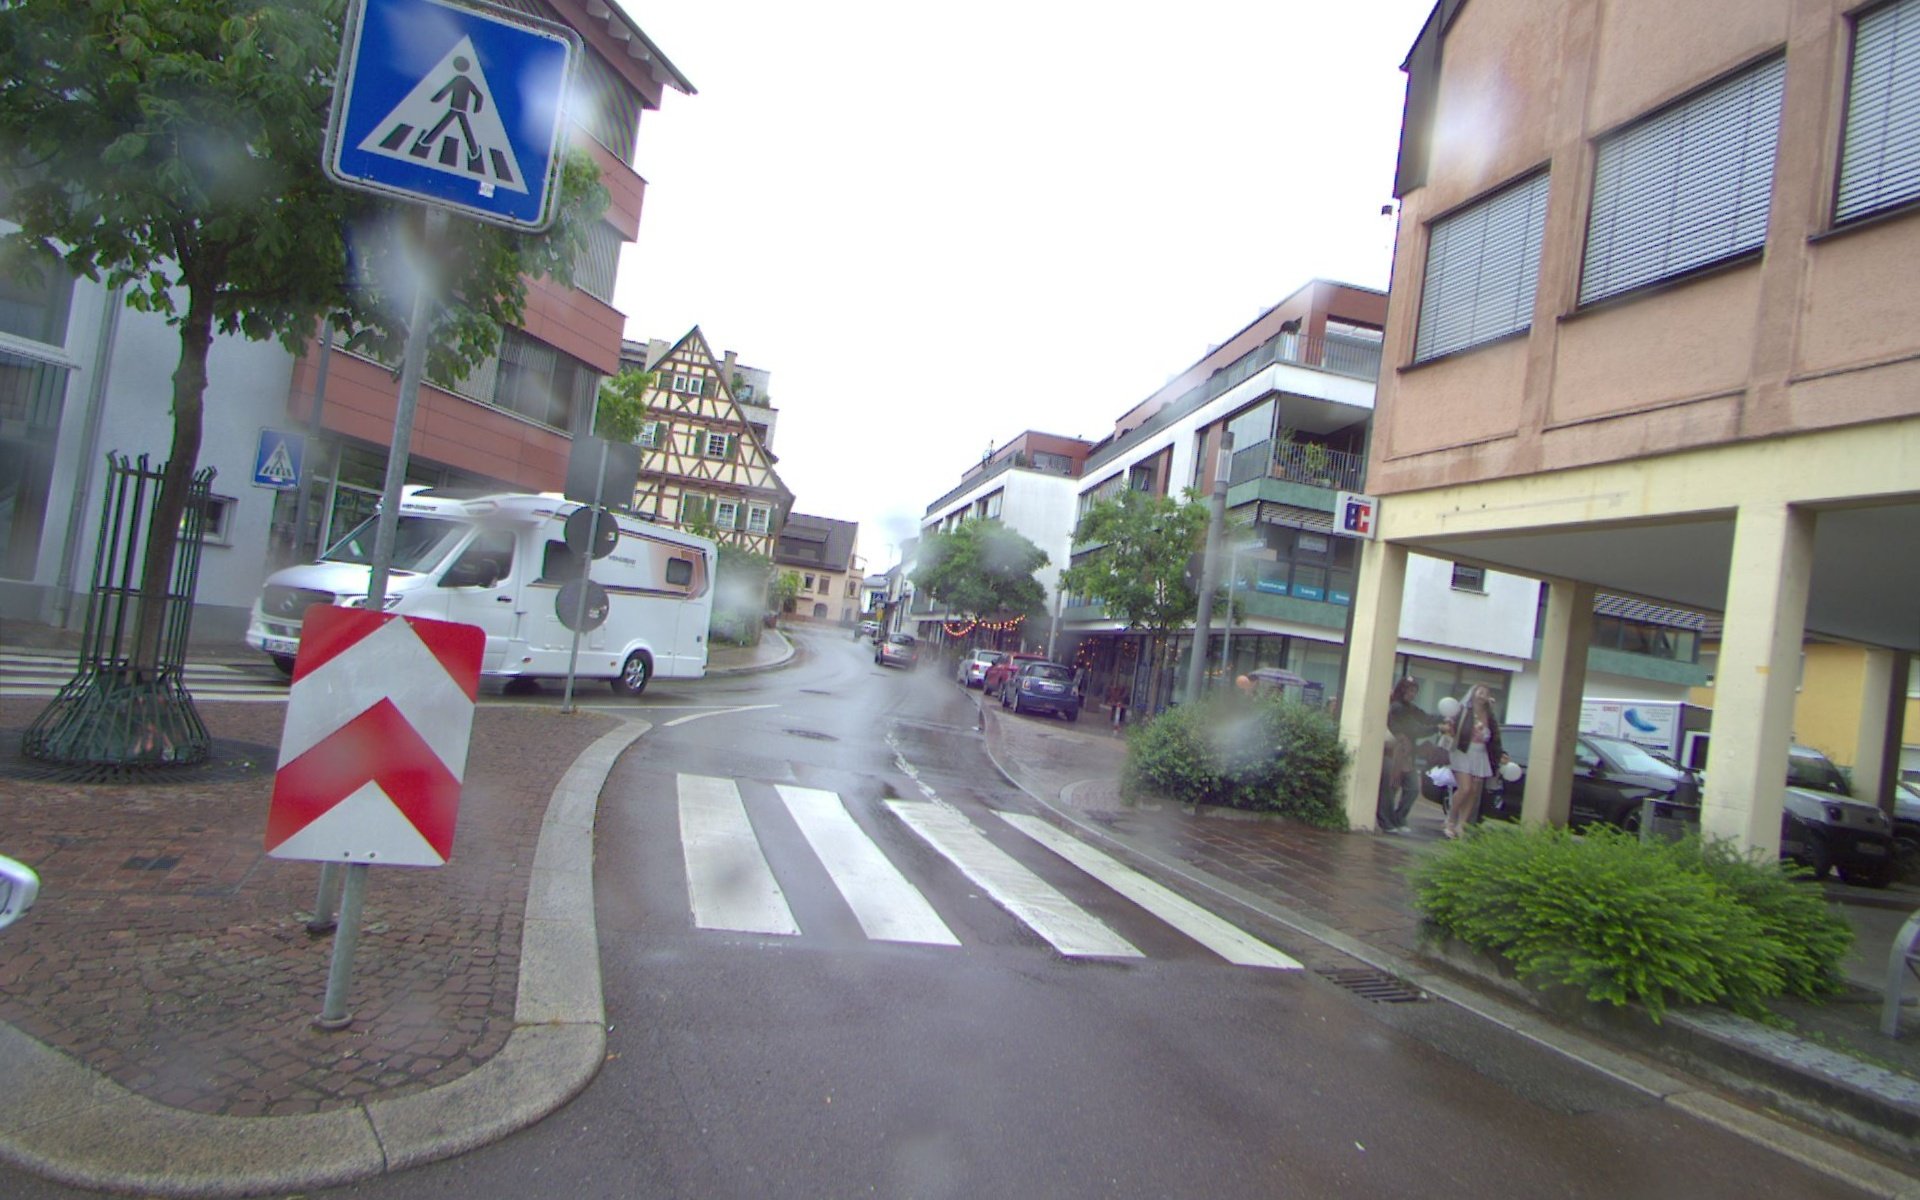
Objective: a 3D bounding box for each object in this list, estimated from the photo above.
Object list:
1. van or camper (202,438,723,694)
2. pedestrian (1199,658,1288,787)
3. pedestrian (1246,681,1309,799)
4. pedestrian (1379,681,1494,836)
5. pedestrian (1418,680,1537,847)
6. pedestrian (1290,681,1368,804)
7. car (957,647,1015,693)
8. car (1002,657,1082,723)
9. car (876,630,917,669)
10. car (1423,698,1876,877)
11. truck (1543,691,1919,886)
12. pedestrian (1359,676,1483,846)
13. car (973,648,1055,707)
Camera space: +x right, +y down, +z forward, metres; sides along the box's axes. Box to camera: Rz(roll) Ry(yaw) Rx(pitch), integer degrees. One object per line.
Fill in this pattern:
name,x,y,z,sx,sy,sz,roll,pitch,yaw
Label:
van or camper,-6.319,-0.126,14.290,2.400,2.613,6.761,5,-4,18
pedestrian,4.266,1.826,15.186,0.725,1.768,0.890,8,-2,-16
pedestrian,4.842,2.128,15.344,0.533,1.682,0.520,8,-2,-13
pedestrian,5.724,1.877,12.137,0.949,1.657,0.735,7,-2,15
pedestrian,5.780,1.809,11.249,0.715,1.708,0.730,8,-2,-21
pedestrian,5.586,2.143,15.254,0.626,1.708,0.741,8,-2,-15
car,0.926,2.609,38.129,1.592,1.430,3.998,6,-1,-6
car,2.183,2.410,27.500,1.515,1.377,3.373,9,-2,-4
car,-2.845,2.175,44.821,1.500,1.487,3.340,8,-2,-6
car,8.116,2.152,12.456,1.742,1.290,4.460,8,-3,-15
truck,10.343,2.396,13.608,1.742,1.828,3.989,8,-3,-16
pedestrian,5.021,1.737,10.994,0.689,1.680,0.817,8,-2,-22
car,1.666,2.453,32.598,1.602,1.518,3.994,6,-2,-11
